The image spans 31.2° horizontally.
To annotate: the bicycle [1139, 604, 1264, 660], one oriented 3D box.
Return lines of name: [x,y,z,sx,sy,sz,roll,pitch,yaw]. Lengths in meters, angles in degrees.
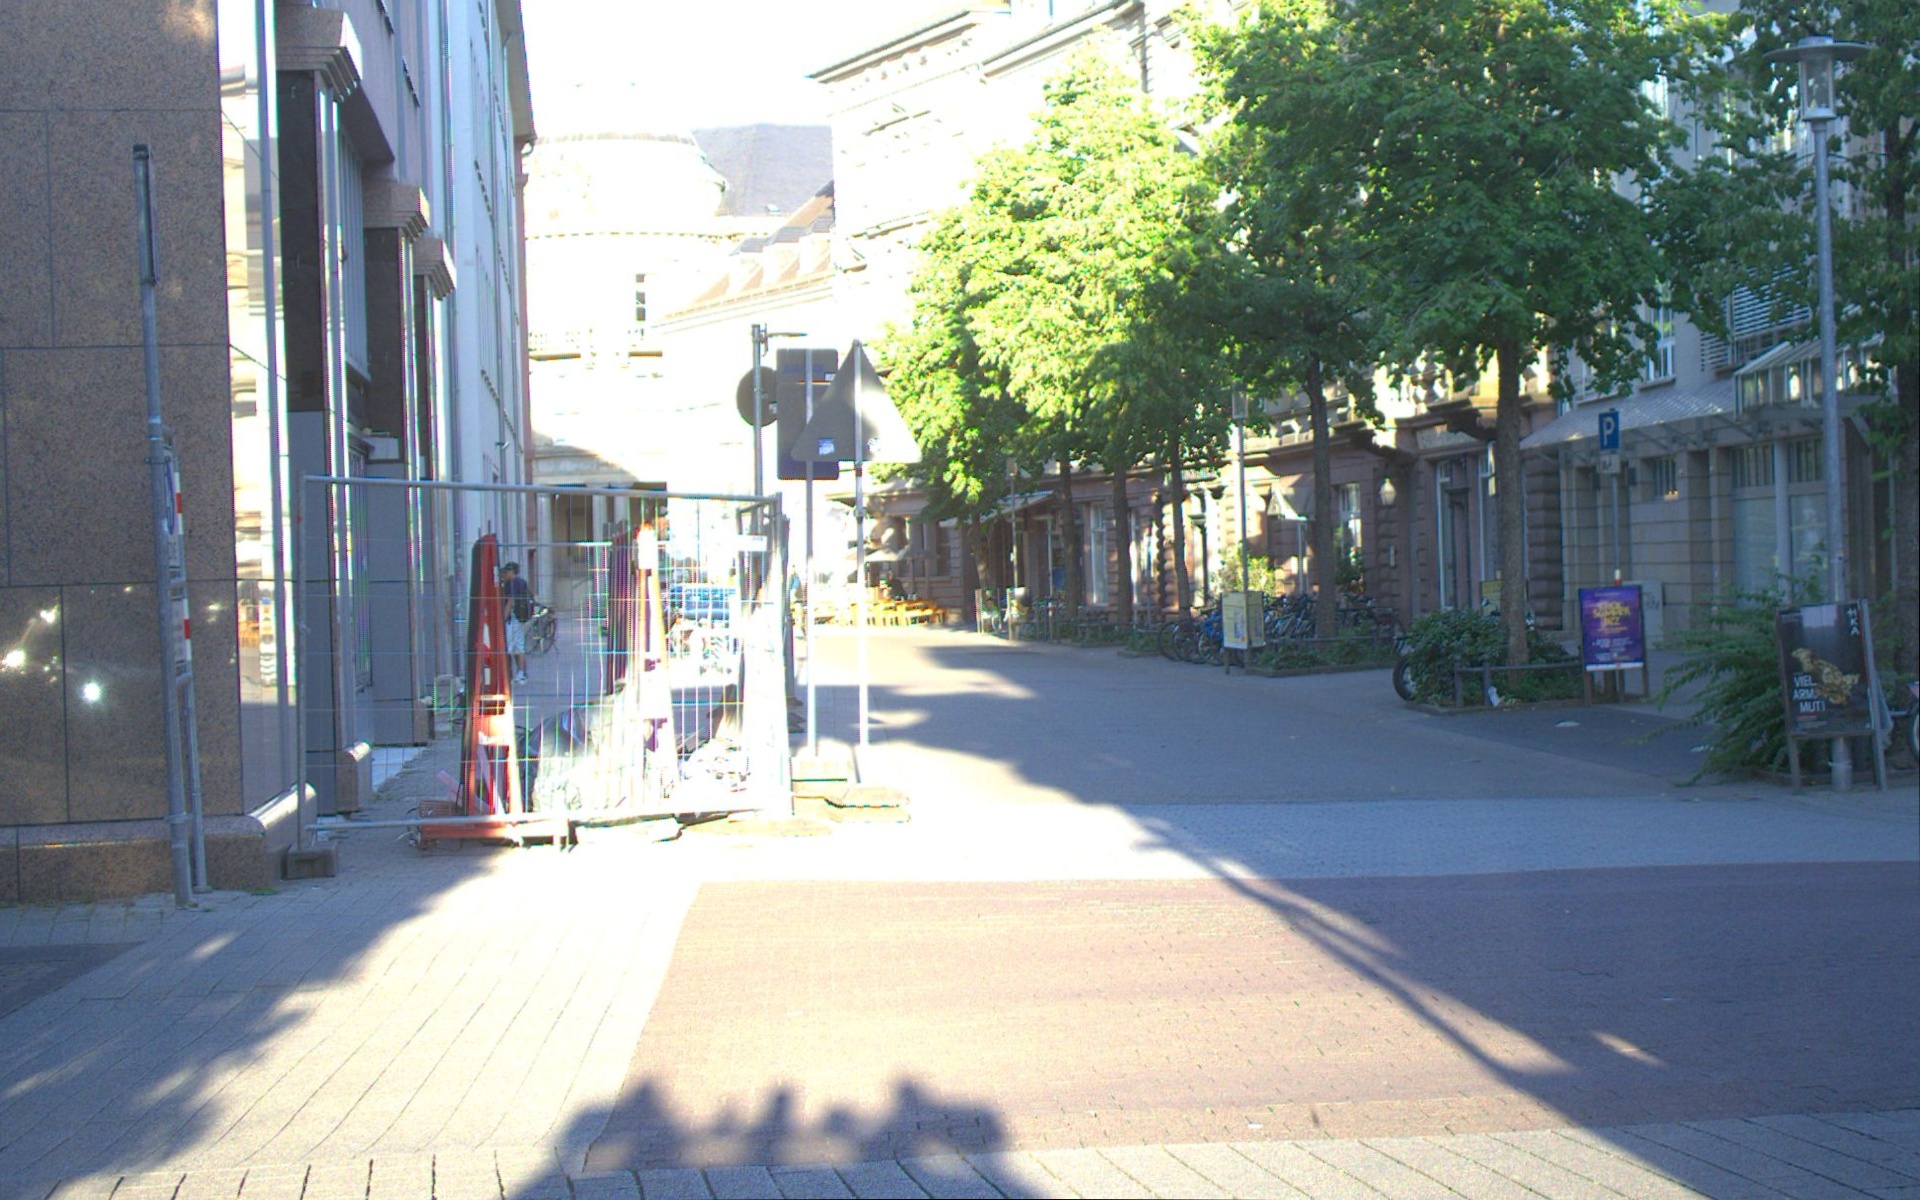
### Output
bicycle: [4.383,0.585,62.530,2.152,0.923,0.591,-2,-1,-10]

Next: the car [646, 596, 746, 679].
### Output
car: [-5.719,0.799,74.142,1.841,1.678,3.645,-2,0,-8]

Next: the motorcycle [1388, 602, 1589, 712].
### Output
motorcycle: [5.988,0.639,38.954,2.152,1.147,0.494,-2,-1,-6]

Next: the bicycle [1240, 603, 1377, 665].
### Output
bicycle: [5.737,0.558,56.528,2.152,0.923,0.591,-2,-1,-18]

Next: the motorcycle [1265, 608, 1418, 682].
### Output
motorcycle: [6.160,0.719,55.438,2.470,1.091,0.591,-2,-1,-25]

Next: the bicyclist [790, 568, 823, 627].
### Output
bicyclist: [-3.922,-0.055,87.834,0.721,1.463,0.718,-2,-1,-7]

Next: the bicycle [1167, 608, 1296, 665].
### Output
bicycle: [4.779,0.640,60.614,2.152,0.923,0.591,-2,-1,-10]

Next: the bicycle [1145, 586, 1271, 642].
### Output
bicycle: [4.447,0.255,61.703,2.152,0.923,0.591,-2,-1,-10]

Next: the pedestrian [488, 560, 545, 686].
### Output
pedestrian: [-6.294,0.324,48.851,0.654,1.758,0.634,-2,0,1]

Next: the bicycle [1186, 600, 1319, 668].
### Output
bicycle: [4.970,0.572,58.385,2.154,1.057,0.590,-2,-1,11]

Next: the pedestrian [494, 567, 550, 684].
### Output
pedestrian: [-6.308,0.363,49.521,0.654,1.646,0.634,-2,0,1]

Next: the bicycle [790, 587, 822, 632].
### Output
bicycle: [-3.939,0.251,88.038,0.588,1.091,2.160,-2,-1,-8]

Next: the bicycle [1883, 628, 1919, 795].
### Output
bicycle: [6.955,0.677,22.553,1.657,1.047,0.662,-5,1,15]
